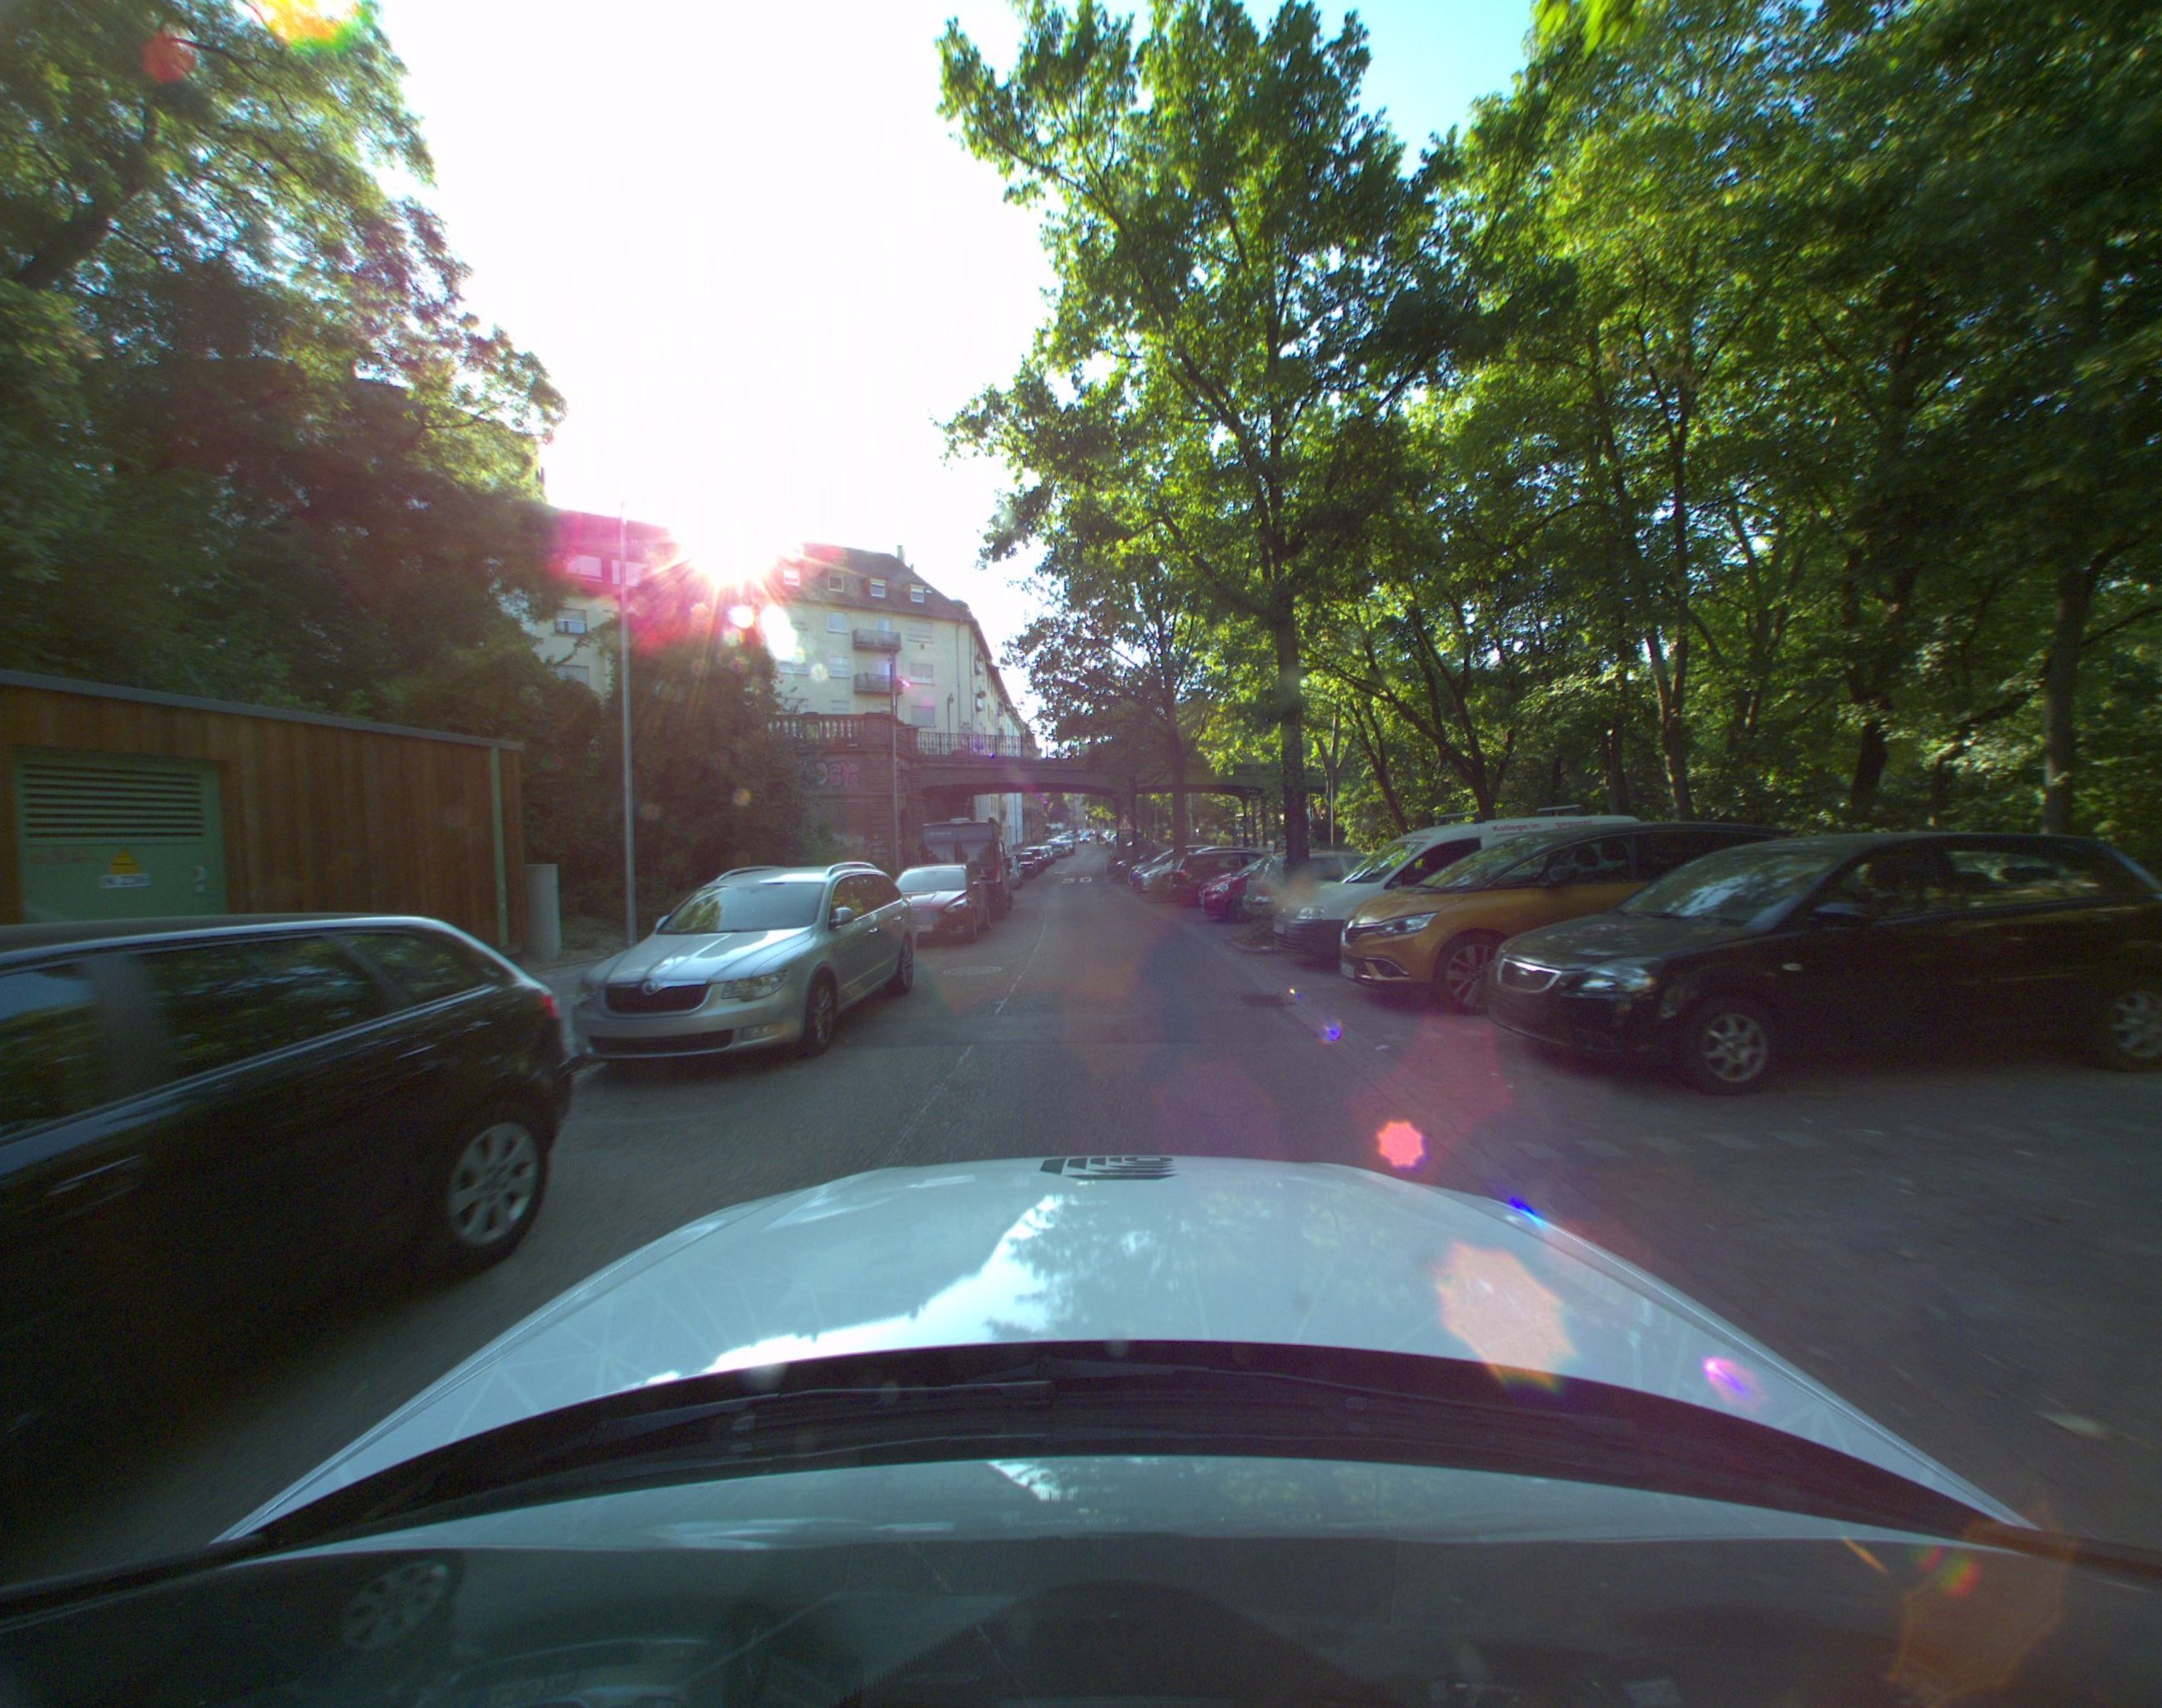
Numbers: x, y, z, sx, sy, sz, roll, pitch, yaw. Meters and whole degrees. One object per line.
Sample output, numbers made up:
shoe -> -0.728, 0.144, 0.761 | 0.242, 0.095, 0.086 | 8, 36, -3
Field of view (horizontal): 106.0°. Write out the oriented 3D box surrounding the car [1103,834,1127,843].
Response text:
car -> 6.307, -2.857, 151.012 | 4.200, 1.452, 1.651 | -3, 2, 4

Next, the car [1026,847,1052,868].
car -> -3.139, 0.232, 61.682 | 1.683, 1.441, 4.001 | -2, 1, 1

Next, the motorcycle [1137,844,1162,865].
motorcycle -> 4.772, 0.040, 56.824 | 1.586, 1.408, 0.716 | -1, 0, 20

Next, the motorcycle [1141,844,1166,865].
motorcycle -> 5.139, 0.034, 57.735 | 1.586, 1.408, 0.716 | -1, 0, 20

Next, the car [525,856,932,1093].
car -> -2.812, 0.827, 7.799 | 1.692, 1.497, 4.552 | -3, 0, 2

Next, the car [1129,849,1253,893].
car -> 4.056, 0.612, 30.576 | 4.362, 1.533, 1.875 | -1, 0, -2

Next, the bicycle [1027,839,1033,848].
bicycle -> -7.350, -1.456, 117.399 | 0.734, 1.206, 2.515 | -1, 2, 1

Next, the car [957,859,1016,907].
car -> -3.209, 0.951, 28.284 | 1.741, 1.466, 4.370 | -1, 0, -3

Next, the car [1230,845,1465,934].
car -> 4.953, 0.645, 15.558 | 3.971, 1.574, 1.667 | -1, 0, 2

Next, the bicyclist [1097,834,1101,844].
bicyclist -> 2.974, -2.493, 131.850 | 0.626, 1.573, 0.802 | -1, 0, -1

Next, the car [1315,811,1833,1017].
car -> 4.502, 0.529, 7.980 | 3.969, 1.758, 1.801 | -1, 0, 4

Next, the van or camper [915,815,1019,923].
van or camper -> -2.926, 0.342, 22.432 | 2.230, 2.523, 6.415 | -1, 0, -3

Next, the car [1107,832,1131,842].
car -> 6.545, -2.923, 141.208 | 4.071, 1.442, 1.760 | -3, 2, -2

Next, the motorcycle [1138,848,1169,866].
motorcycle -> 4.677, 0.187, 52.530 | 1.839, 1.132, 0.844 | -1, 0, -23

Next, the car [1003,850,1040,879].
car -> -3.468, 0.583, 48.257 | 1.710, 1.464, 4.002 | -3, 1, 1

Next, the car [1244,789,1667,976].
car -> 4.728, 0.333, 10.761 | 4.658, 1.924, 1.871 | -4, 0, -2

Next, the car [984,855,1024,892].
car -> -3.568, 0.876, 38.307 | 1.591, 1.547, 3.912 | -3, 1, -2

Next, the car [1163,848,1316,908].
car -> 4.420, 0.652, 23.055 | 4.009, 1.574, 1.586 | -1, 0, -2

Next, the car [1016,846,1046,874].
car -> -3.267, 0.351, 54.141 | 1.712, 1.707, 4.321 | -3, 1, -1

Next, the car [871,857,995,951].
car -> -2.761, 0.868, 16.092 | 1.694, 1.507, 4.226 | -3, 0, -1

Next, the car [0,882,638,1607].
car -> -3.086, 0.887, 1.815 | 1.692, 1.399, 4.196 | -3, 0, 2

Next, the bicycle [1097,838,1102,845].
bicycle -> 2.982, -2.049, 131.892 | 0.639, 1.100, 1.943 | -1, 0, -1

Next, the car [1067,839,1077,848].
car -> -1.505, -1.801, 137.759 | 1.497, 1.434, 2.757 | -3, 2, 5

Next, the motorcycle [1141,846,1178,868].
motorcycle -> 4.506, 0.165, 46.789 | 1.939, 1.238, 0.897 | -1, 0, -25

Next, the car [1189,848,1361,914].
car -> 4.842, 0.652, 20.647 | 3.976, 1.574, 1.586 | -1, 0, -2

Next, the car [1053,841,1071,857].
car -> -1.927, -0.519, 83.764 | 1.697, 1.525, 3.774 | -2, 1, 0

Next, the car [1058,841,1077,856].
car -> -1.467, -0.648, 88.634 | 1.733, 1.479, 4.003 | -3, 2, 2

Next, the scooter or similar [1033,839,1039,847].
scooter or similar -> -7.454, -1.817, 135.416 | 0.781, 1.222, 2.704 | -1, 0, 0

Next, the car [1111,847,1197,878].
car -> 3.805, 0.439, 42.916 | 4.362, 1.577, 1.673 | -1, 0, -2

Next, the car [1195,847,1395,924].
car -> 4.614, 0.660, 17.918 | 3.976, 1.574, 1.586 | -1, 0, -2

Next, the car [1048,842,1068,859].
car -> -2.160, -0.338, 77.658 | 1.560, 1.517, 3.785 | -2, 1, 2

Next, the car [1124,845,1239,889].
car -> 4.021, 0.504, 33.088 | 4.366, 1.708, 1.904 | -1, 0, -4

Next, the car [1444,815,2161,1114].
car -> 4.844, 0.598, 5.539 | 3.979, 1.627, 1.796 | -1, 0, -4

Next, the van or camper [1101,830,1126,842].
van or camper -> 6.491, -3.662, 163.531 | 4.968, 2.377, 2.184 | -1, 0, -2

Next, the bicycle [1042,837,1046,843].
bicycle -> -7.258, -2.668, 158.490 | 0.703, 1.147, 1.888 | -1, 0, -3

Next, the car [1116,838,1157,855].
car -> 5.358, -0.728, 78.965 | 3.774, 1.472, 1.633 | -3, 0, -4

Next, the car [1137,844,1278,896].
car -> 4.268, 0.534, 28.015 | 4.520, 1.696, 1.906 | -1, 0, -2

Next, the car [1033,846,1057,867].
car -> -2.885, 0.167, 66.075 | 1.631, 1.466, 4.002 | -5, 1, 1

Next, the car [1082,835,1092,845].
car -> 1.097, -2.514, 143.348 | 1.662, 1.430, 4.002 | -4, 3, 1
